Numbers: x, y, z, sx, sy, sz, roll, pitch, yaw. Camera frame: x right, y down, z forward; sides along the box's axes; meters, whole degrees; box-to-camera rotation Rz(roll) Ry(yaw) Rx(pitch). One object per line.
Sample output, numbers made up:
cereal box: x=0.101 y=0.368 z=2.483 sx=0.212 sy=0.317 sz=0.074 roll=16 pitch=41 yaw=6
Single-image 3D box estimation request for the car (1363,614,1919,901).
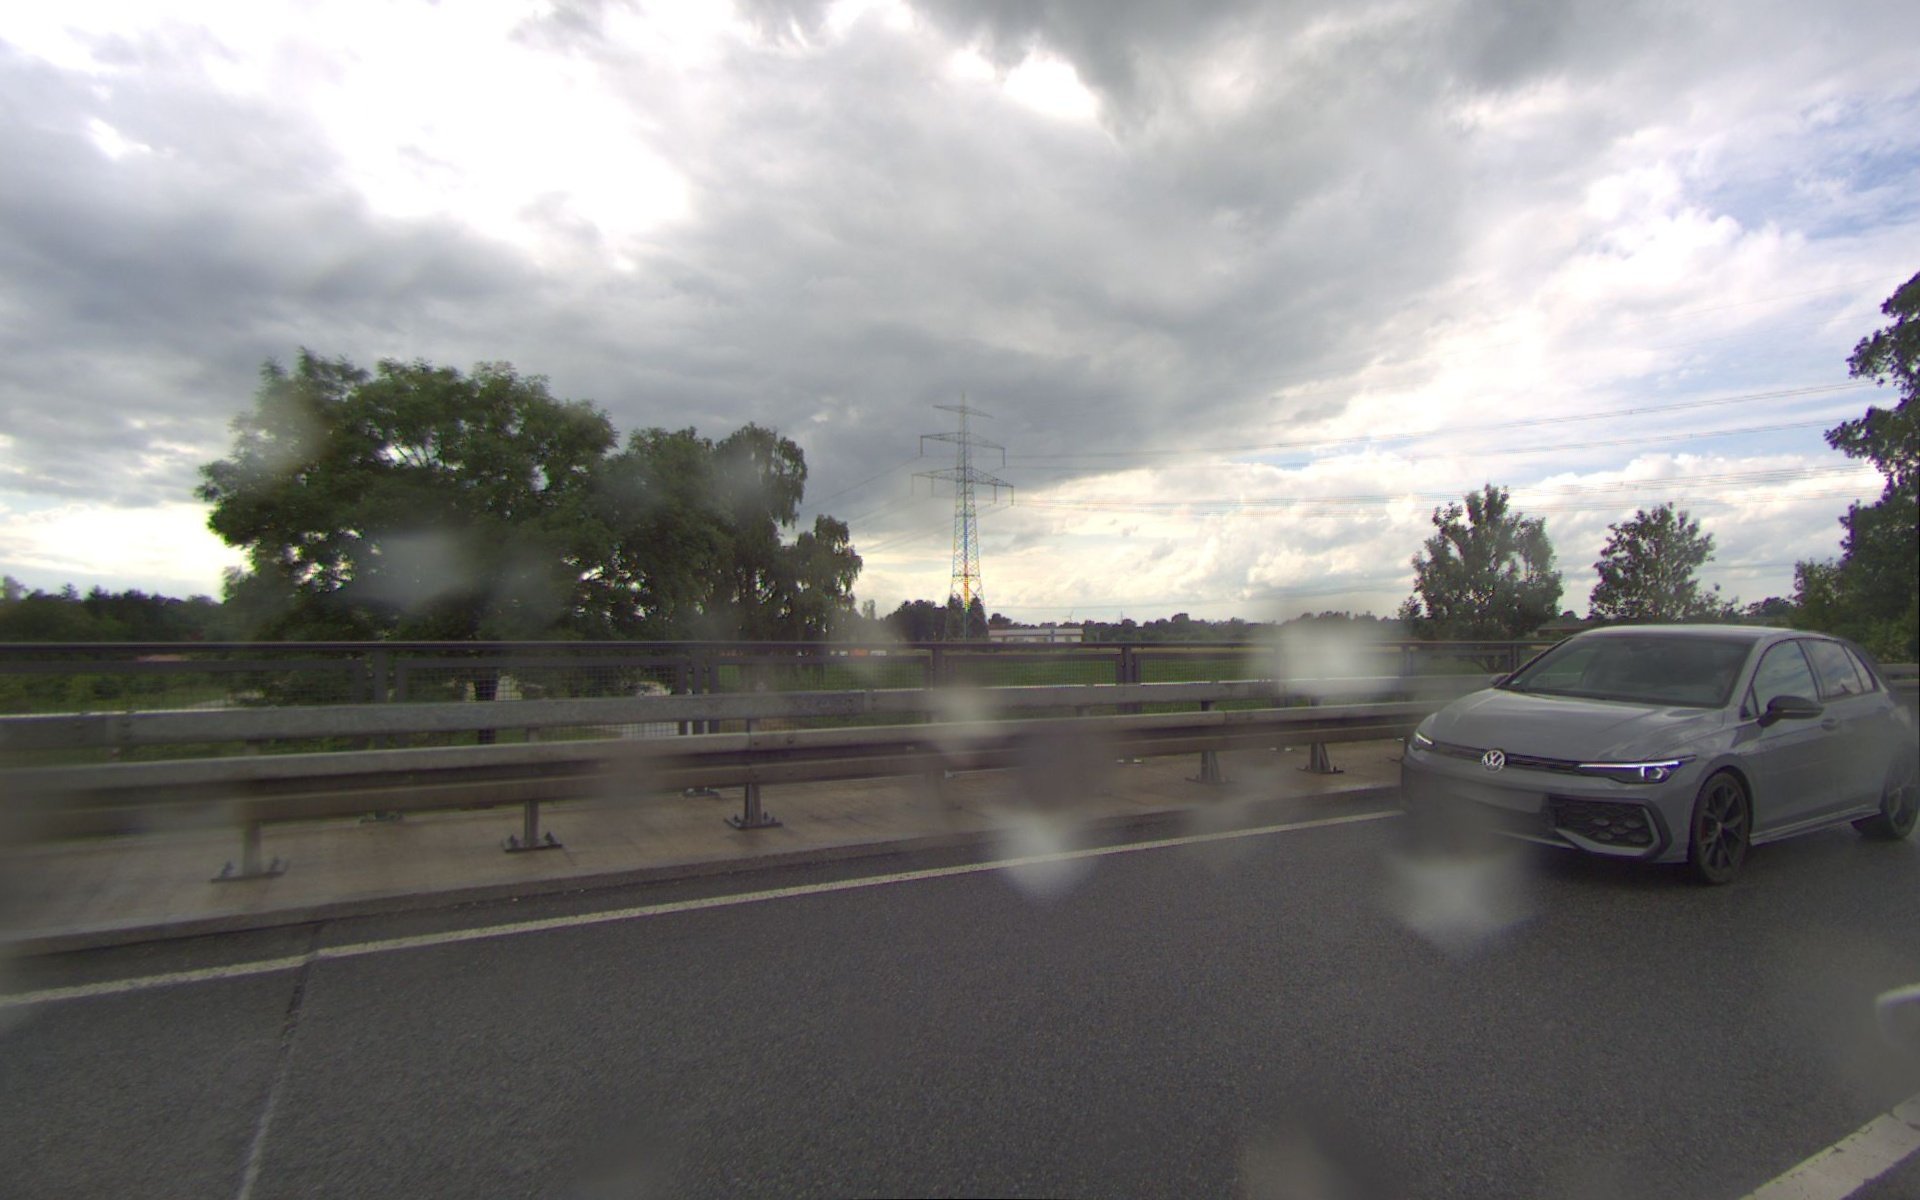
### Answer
car: x=4.949 y=0.871 z=7.039 sx=4.054 sy=1.462 sz=1.827 roll=1 pitch=0 yaw=-30
